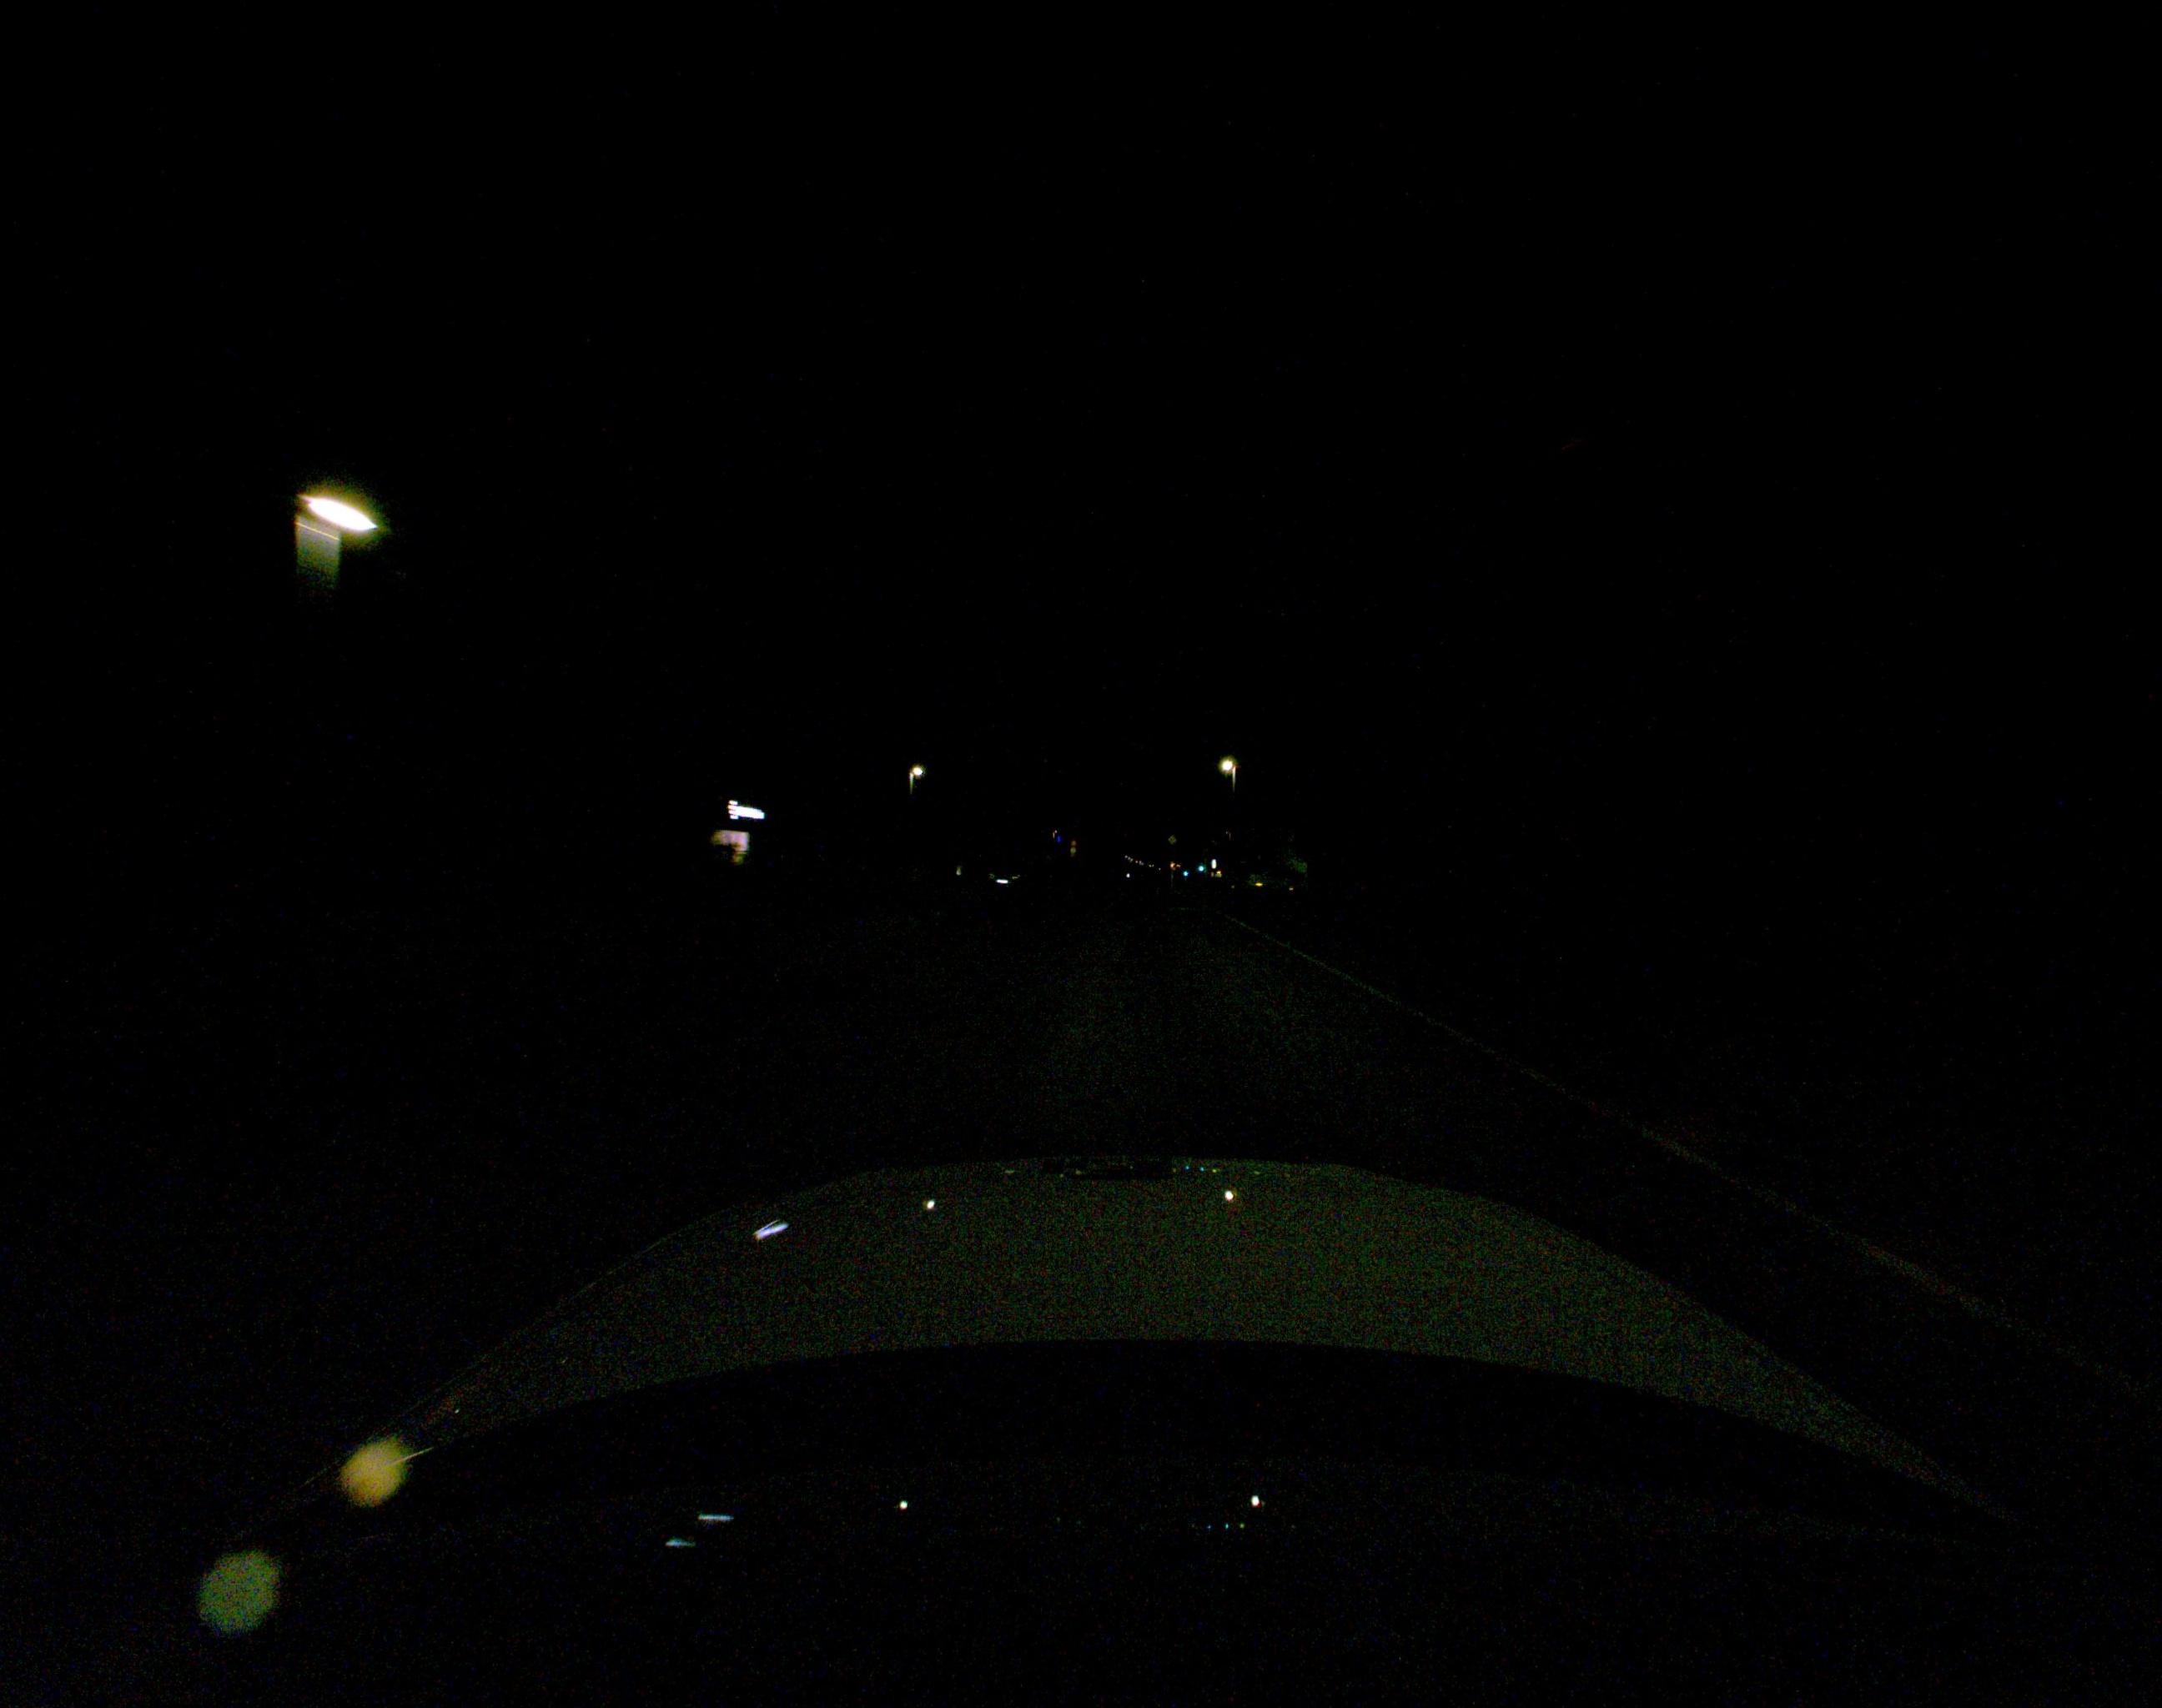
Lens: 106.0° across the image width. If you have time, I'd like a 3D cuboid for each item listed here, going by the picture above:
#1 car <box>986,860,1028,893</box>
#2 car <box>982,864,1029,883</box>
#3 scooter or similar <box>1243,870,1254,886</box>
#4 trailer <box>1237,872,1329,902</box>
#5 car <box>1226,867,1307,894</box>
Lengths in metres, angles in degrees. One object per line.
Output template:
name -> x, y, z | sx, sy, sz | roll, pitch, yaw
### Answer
car -> -3.765, 1.105, 42.039 | 1.666, 1.591, 3.988 | 1, -1, 2
car -> -6.663, 1.736, 72.084 | 3.681, 1.627, 1.792 | -1, -2, 21
scooter or similar -> 13.836, 1.980, 67.335 | 0.609, 1.281, 1.690 | 1, -1, 1
trailer -> 8.430, 1.379, 34.185 | 3.419, 1.002, 1.955 | 3, -1, 2
car -> 8.557, 1.213, 37.720 | 3.380, 1.232, 1.724 | 0, 0, 0
